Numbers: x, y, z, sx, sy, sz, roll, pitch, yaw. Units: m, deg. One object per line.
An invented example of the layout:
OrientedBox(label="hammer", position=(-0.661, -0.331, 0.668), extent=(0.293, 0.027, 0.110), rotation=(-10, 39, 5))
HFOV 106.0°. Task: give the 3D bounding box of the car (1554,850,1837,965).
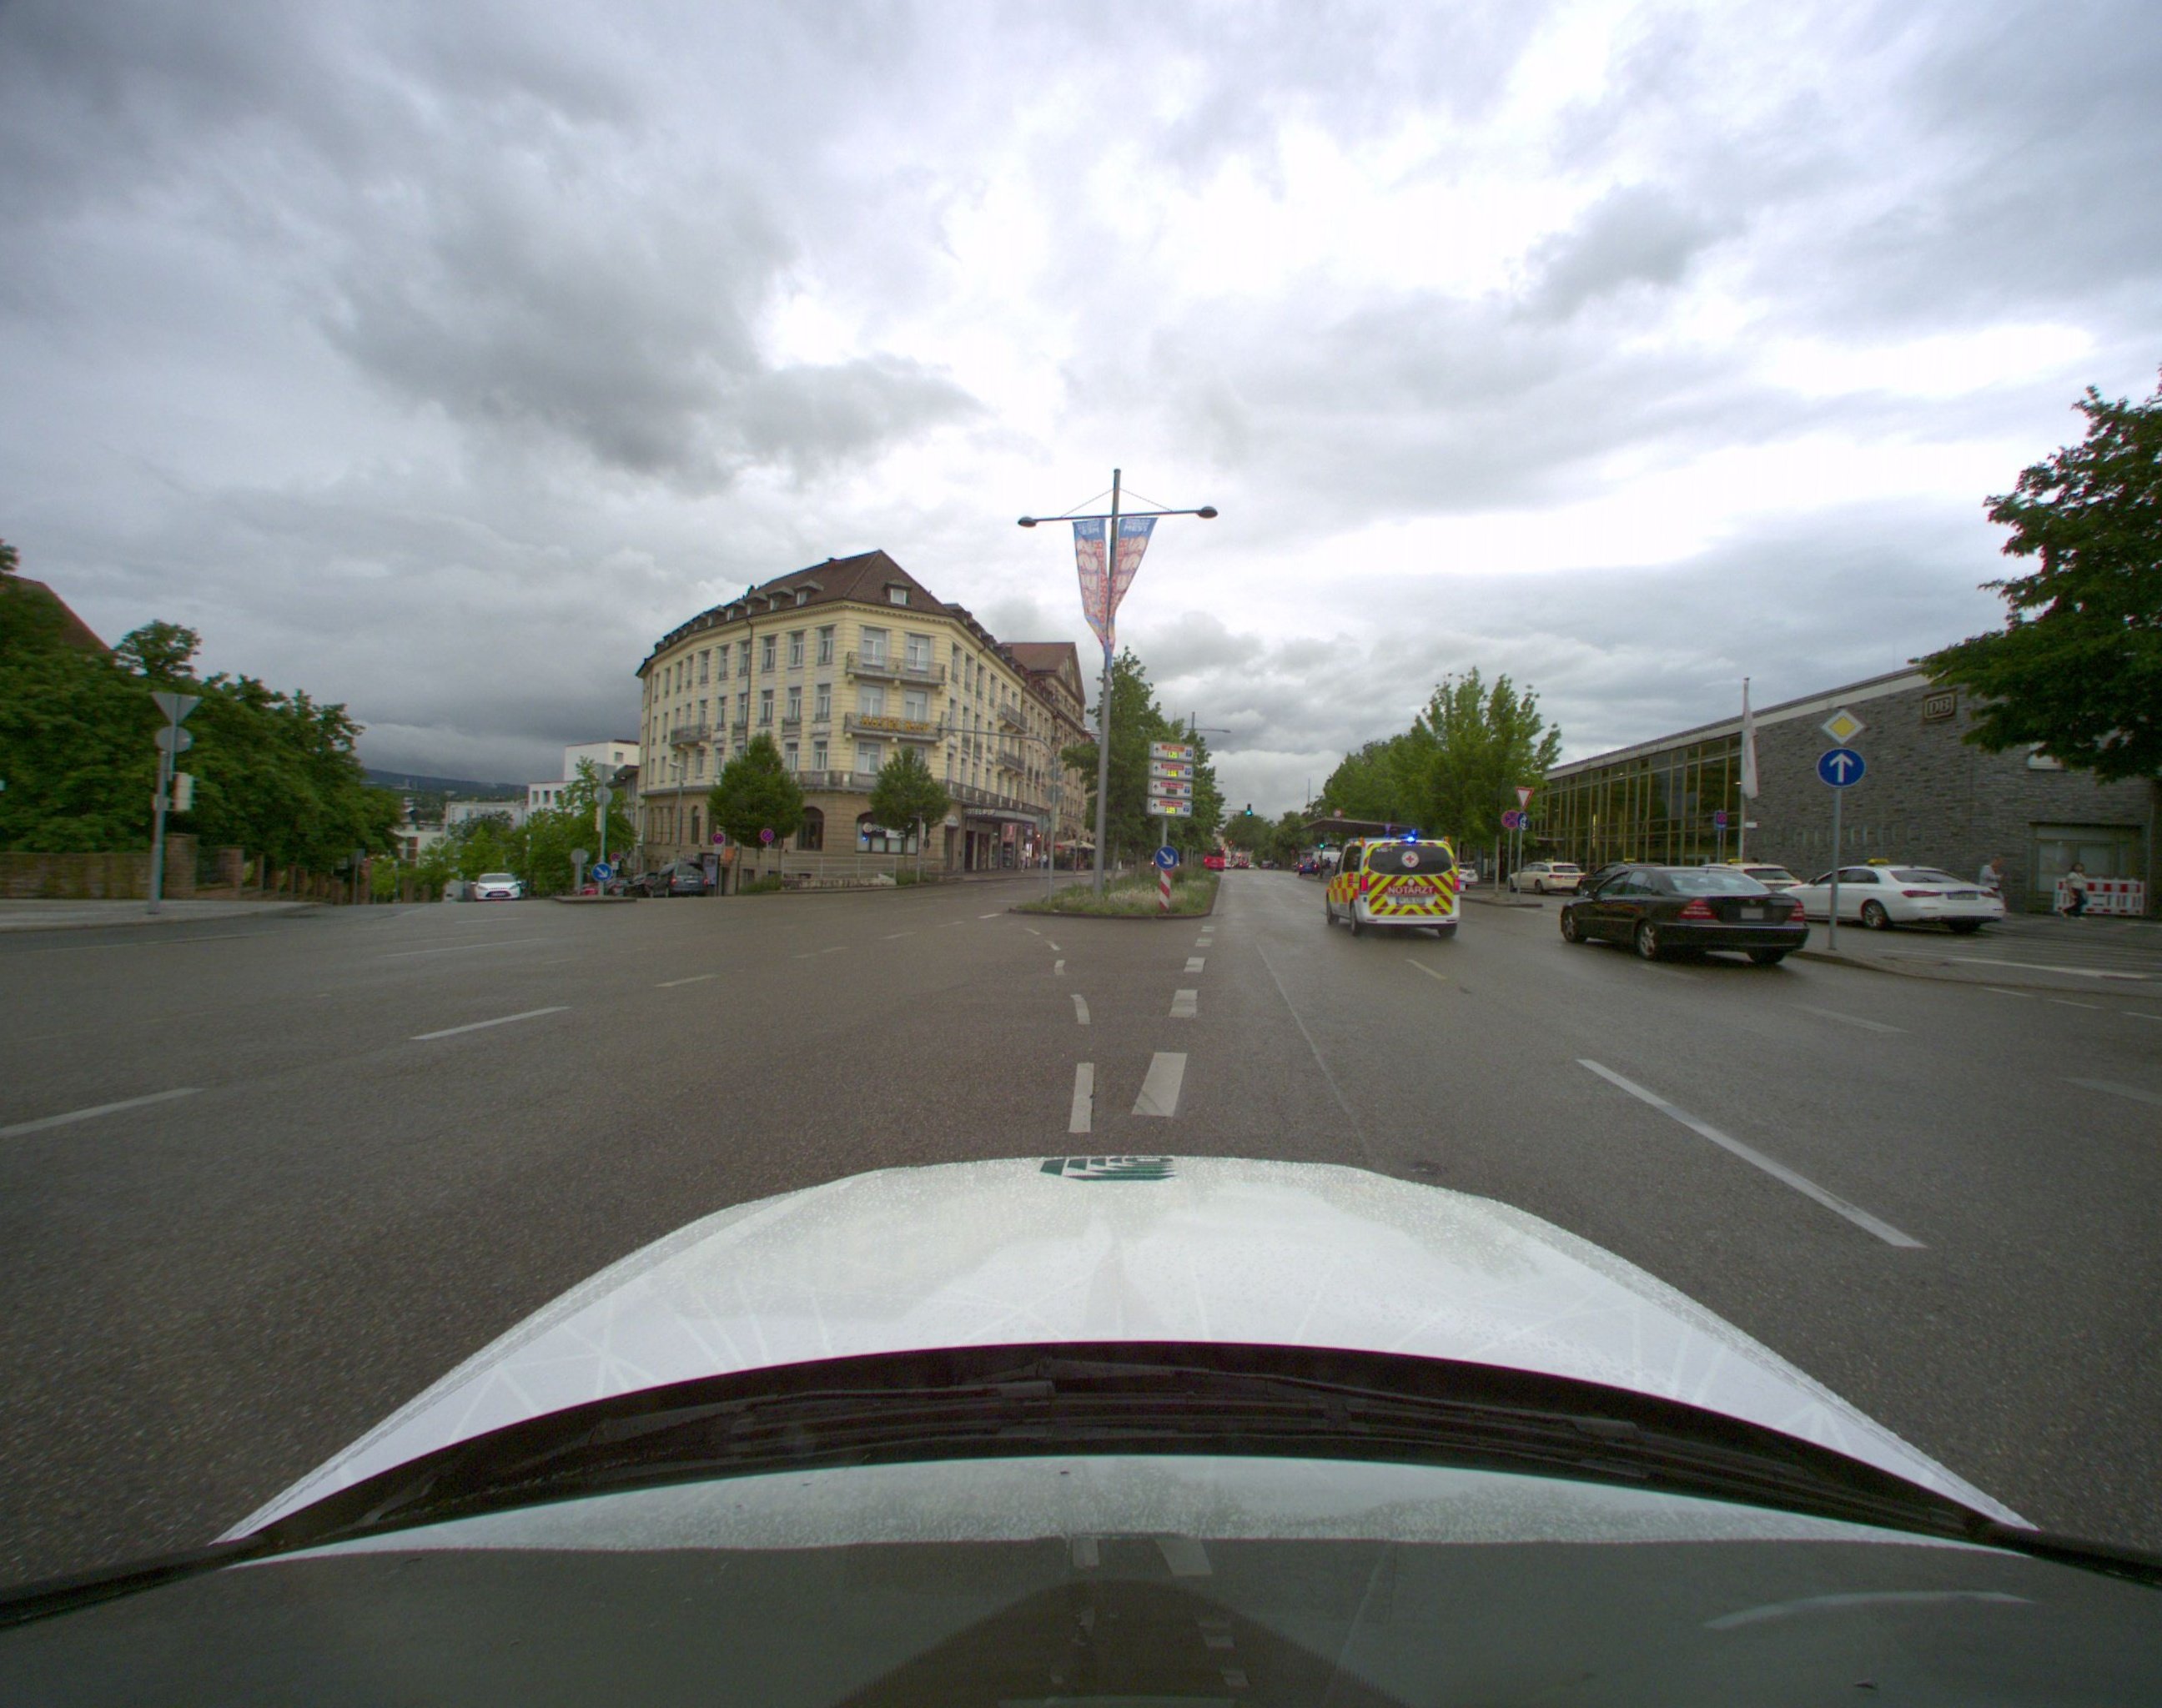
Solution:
OrientedBox(label="car", position=(9.195, 0.719, 12.721), extent=(1.684, 1.466, 4.464), rotation=(0, -1, 10))

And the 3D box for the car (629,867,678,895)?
OrientedBox(label="car", position=(-23.991, 1.478, 45.617), extent=(1.643, 1.398, 3.954), rotation=(0, 0, -39))

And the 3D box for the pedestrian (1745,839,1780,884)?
OrientedBox(label="pedestrian", position=(24.841, 0.281, 29.687), extent=(0.725, 1.626, 0.789), rotation=(0, -1, -34))

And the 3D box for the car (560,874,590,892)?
OrientedBox(label="car", position=(-43.690, 2.485, 70.326), extent=(1.778, 1.478, 3.954), rotation=(0, -1, -38))

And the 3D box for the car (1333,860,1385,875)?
OrientedBox(label="car", position=(25.762, 1.244, 75.461), extent=(4.184, 1.325, 1.834), rotation=(1, -1, -10))

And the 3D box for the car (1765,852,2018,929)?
OrientedBox(label="car", position=(19.053, 0.800, 19.548), extent=(1.868, 1.599, 4.917), rotation=(0, -1, 11))

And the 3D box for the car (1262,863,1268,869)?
OrientedBox(label="car", position=(51.524, 3.312, 228.451), extent=(1.585, 1.561, 3.661), rotation=(0, -1, 11))

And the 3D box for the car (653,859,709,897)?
OrientedBox(label="car", position=(-19.991, 1.154, 40.637), extent=(1.643, 1.759, 3.954), rotation=(0, 0, -39))

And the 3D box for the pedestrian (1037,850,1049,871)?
OrientedBox(label="pedestrian", position=(-3.012, 0.518, 64.496), extent=(0.677, 1.664, 0.810), rotation=(-1, -1, 13))

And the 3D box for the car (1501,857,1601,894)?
OrientedBox(label="car", position=(21.701, 0.933, 37.851), extent=(1.985, 1.599, 4.962), rotation=(0, 0, 3))

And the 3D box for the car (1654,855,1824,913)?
OrientedBox(label="car", position=(20.071, 0.844, 25.179), extent=(1.981, 1.599, 4.973), rotation=(0, 0, 11))

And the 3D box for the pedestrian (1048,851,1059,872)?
OrientedBox(label="pedestrian", position=(-2.200, 0.596, 64.413), extent=(0.677, 1.664, 0.809), rotation=(0, -1, 11))

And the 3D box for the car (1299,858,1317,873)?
OrientedBox(label="car", position=(23.677, 1.188, 85.081), extent=(1.774, 1.523, 3.696), rotation=(1, -1, 15))

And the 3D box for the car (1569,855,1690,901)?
OrientedBox(label="car", position=(21.026, 0.858, 31.491), extent=(1.982, 1.599, 4.971), rotation=(1, 0, 9))

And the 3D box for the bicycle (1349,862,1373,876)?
OrientedBox(label="bicycle", position=(22.349, 1.196, 65.081), extent=(1.826, 1.056, 0.419), rotation=(0, -1, -8))

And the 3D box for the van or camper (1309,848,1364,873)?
OrientedBox(label="van or camper", position=(30.025, 0.758, 95.557), extent=(5.960, 2.763, 2.186), rotation=(0, -1, -17))

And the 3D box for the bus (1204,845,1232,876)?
OrientedBox(label="bus", position=(18.611, 0.948, 110.270), extent=(3.523, 3.980, 11.201), rotation=(0, -1, 10))

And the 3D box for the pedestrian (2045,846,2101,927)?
OrientedBox(label="pedestrian", position=(26.964, 0.874, 22.143), extent=(0.798, 2.164, 0.718), rotation=(0, -1, -21))

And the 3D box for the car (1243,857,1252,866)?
OrientedBox(label="car", position=(37.097, 1.748, 181.691), extent=(1.981, 2.014, 4.012), rotation=(0, -1, 11))

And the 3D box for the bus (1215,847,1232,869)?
OrientedBox(label="bus", position=(25.863, 0.783, 148.247), extent=(2.789, 3.747, 10.471), rotation=(1, -1, 9))

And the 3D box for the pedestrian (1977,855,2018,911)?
OrientedBox(label="pedestrian", position=(26.415, 0.811, 23.468), extent=(0.774, 1.580, 0.703), rotation=(0, -1, -37))

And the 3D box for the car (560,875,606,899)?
OrientedBox(label="car", position=(-32.554, 2.105, 53.187), extent=(1.780, 1.478, 3.960), rotation=(1, -1, -44))

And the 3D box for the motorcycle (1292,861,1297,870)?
OrientedBox(label="motorcycle", position=(29.631, 1.608, 112.819), extent=(0.590, 1.288, 1.962), rotation=(0, 0, 16))

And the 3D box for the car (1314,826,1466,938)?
OrientedBox(label="car", position=(6.293, 0.534, 17.219), extent=(1.982, 2.014, 5.074), rotation=(0, -1, 9))

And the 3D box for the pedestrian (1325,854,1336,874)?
OrientedBox(label="pedestrian", position=(22.989, 0.934, 75.016), extent=(0.851, 1.835, 1.193), rotation=(0, -1, 10))

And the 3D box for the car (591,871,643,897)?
OrientedBox(label="car", position=(-28.001, 1.784, 49.085), extent=(1.780, 1.478, 3.951), rotation=(1, -1, -44))

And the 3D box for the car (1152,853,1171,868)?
OrientedBox(label="car", position=(11.121, 0.850, 112.469), extent=(1.980, 2.014, 5.017), rotation=(0, -1, 12))

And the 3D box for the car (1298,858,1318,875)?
OrientedBox(label="car", position=(22.068, 1.211, 79.298), extent=(1.845, 1.569, 4.015), rotation=(1, -1, 14))

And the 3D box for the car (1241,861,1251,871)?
OrientedBox(label="car", position=(33.704, 2.463, 166.690), extent=(1.981, 2.014, 4.012), rotation=(0, -1, 11))

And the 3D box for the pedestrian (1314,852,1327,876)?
OrientedBox(label="pedestrian", position=(18.089, 0.771, 61.501), extent=(0.743, 1.747, 0.836), rotation=(0, -1, 2))

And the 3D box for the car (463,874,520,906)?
OrientedBox(label="car", position=(-27.784, 1.638, 38.334), extent=(1.644, 1.398, 3.951), rotation=(1, -1, -44))

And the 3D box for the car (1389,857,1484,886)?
OrientedBox(label="car", position=(19.511, 0.947, 44.969), extent=(1.768, 1.546, 4.732), rotation=(1, -1, -29))

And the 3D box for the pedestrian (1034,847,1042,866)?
OrientedBox(label="pedestrian", position=(-3.878, 0.249, 72.976), extent=(0.664, 1.664, 0.537), rotation=(0, -1, 2))

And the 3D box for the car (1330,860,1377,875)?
OrientedBox(label="car", position=(26.462, 1.285, 79.071), extent=(4.000, 1.359, 1.852), rotation=(1, -1, -20))

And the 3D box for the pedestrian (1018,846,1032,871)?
OrientedBox(label="pedestrian", position=(-4.238, 0.350, 61.223), extent=(0.874, 1.813, 0.752), rotation=(0, -1, 10))
